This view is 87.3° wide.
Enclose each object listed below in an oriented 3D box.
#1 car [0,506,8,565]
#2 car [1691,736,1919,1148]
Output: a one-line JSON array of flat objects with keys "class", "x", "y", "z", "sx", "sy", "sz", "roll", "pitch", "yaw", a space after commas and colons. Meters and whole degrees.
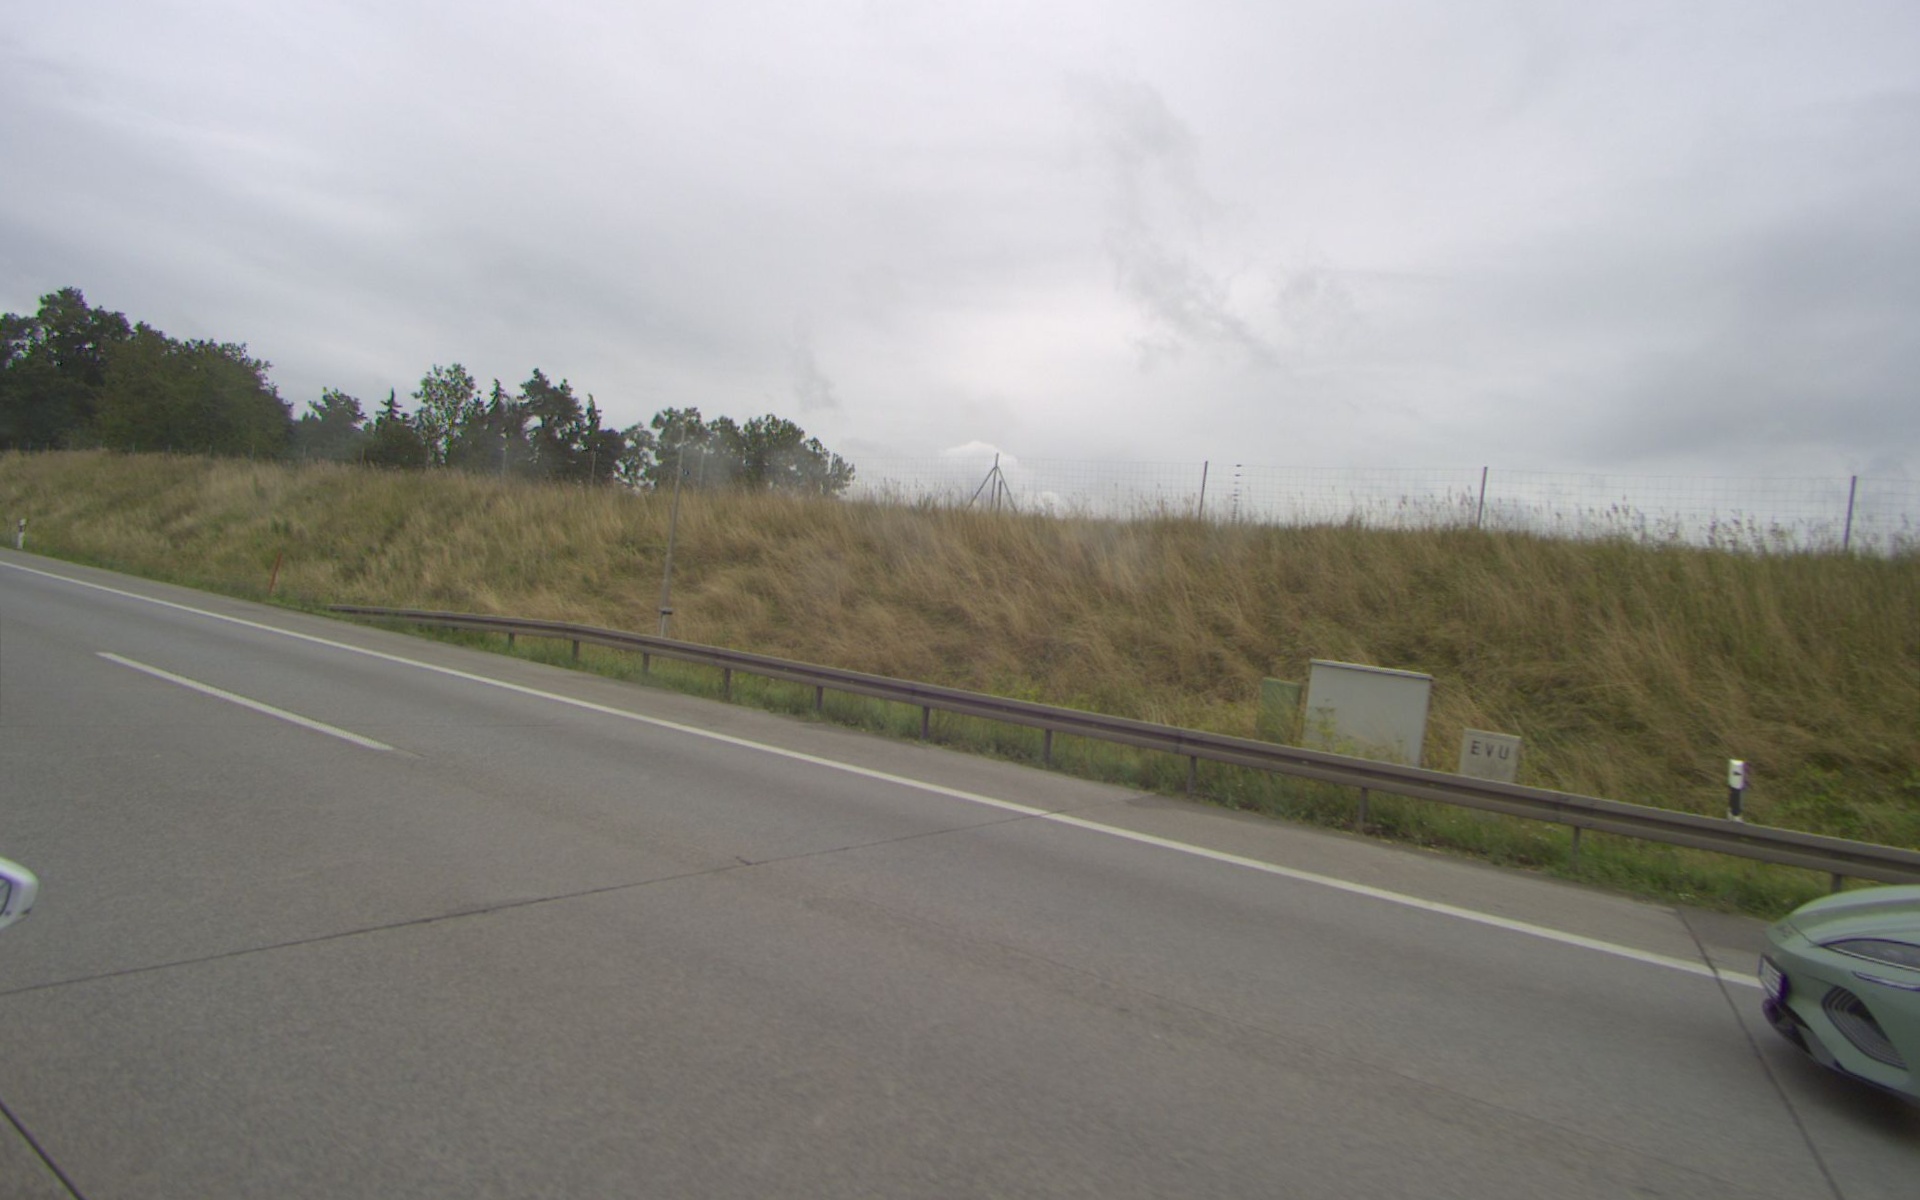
[{"class": "car", "x": -22.513, "y": -1.541, "z": 22.030, "sx": 3.446, "sy": 1.488, "sz": 1.488, "roll": 8, "pitch": -1, "yaw": 32}, {"class": "car", "x": 5.756, "y": 1.664, "z": 3.679, "sx": 4.665, "sy": 1.462, "sz": 2.019, "roll": 8, "pitch": -2, "yaw": 31}]
